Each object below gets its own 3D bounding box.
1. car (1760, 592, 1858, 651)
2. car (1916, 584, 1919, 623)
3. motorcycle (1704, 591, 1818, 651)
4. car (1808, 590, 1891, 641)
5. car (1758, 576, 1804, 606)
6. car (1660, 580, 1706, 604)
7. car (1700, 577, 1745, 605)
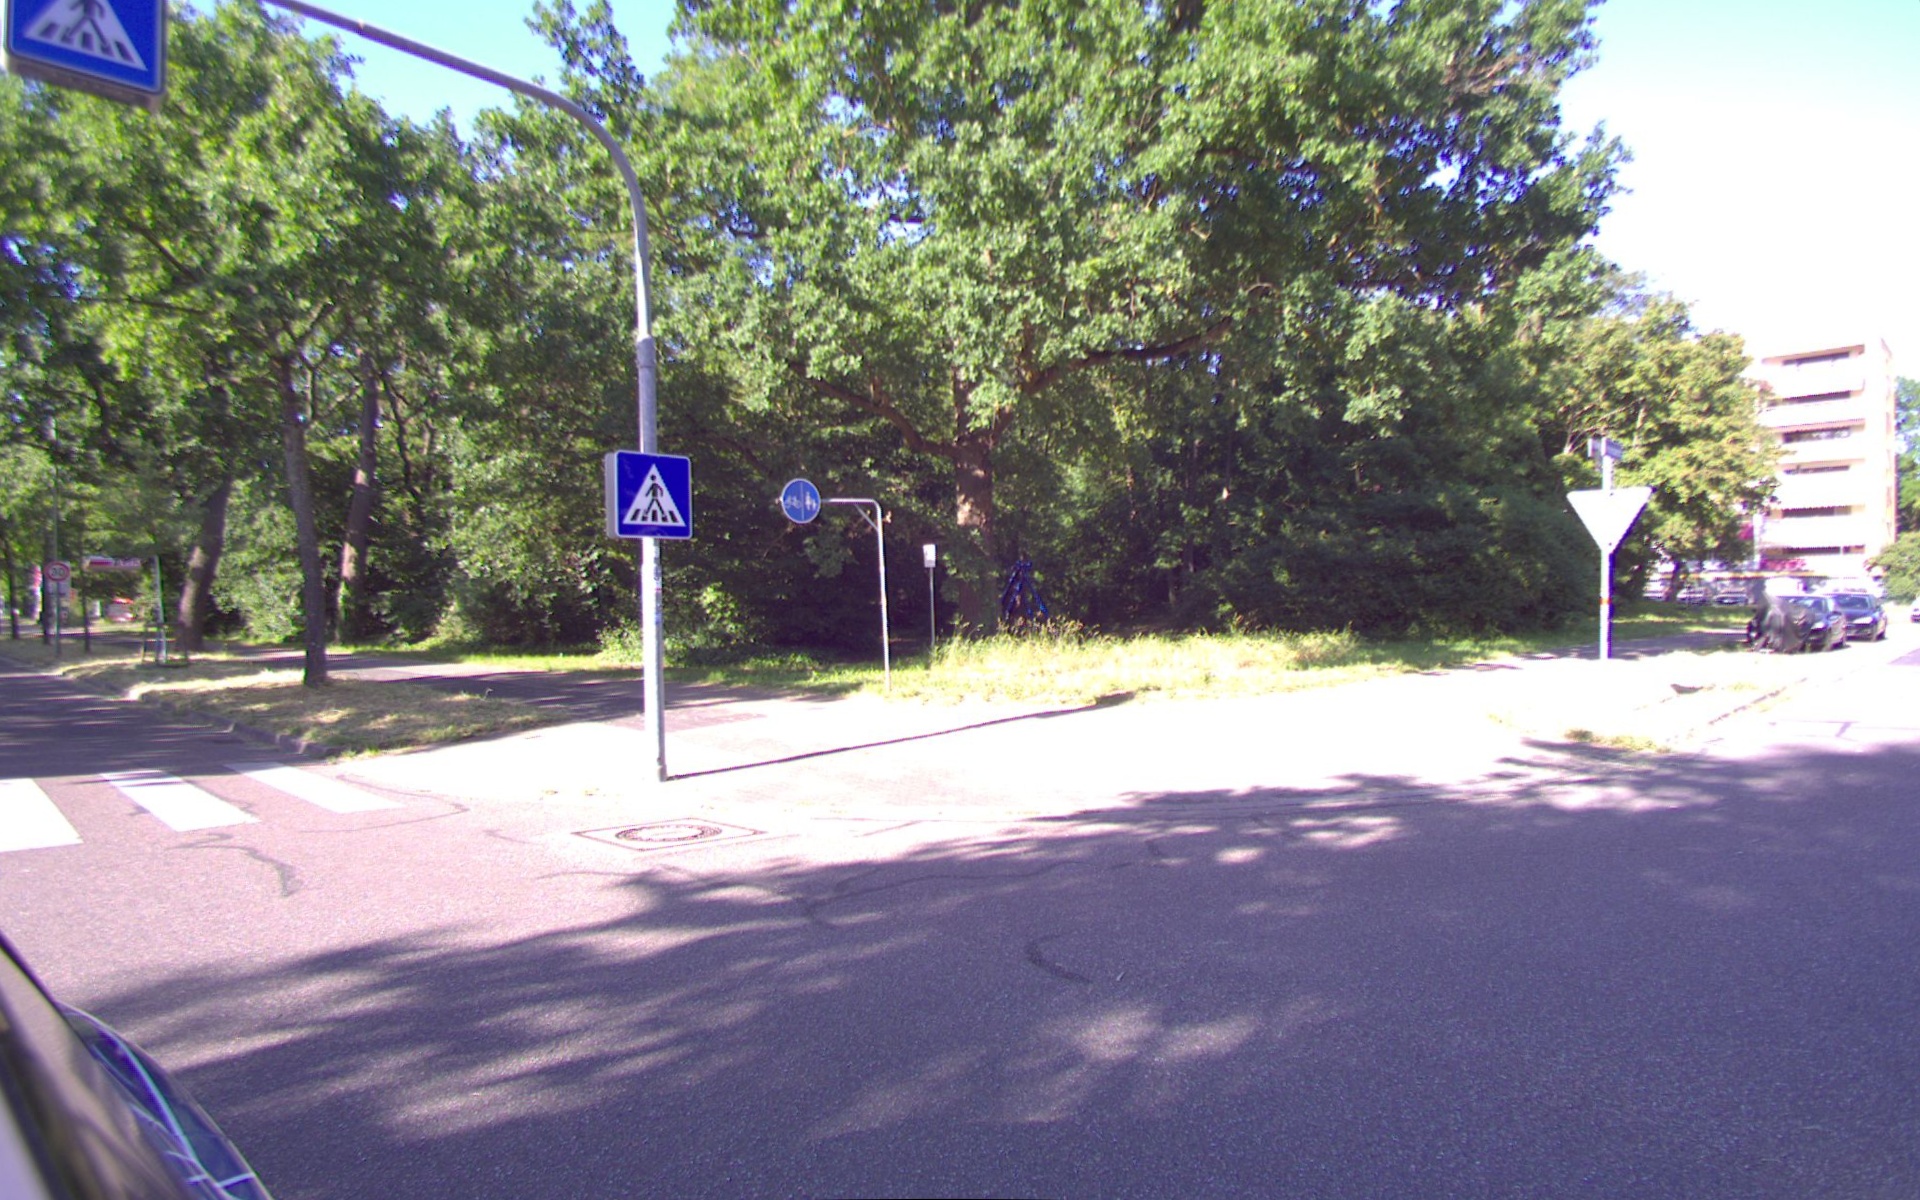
[{"bbox_3d":[22.153,0.518,26.365,3.535,1.402,1.561,-1,0,-44],"label":"car"},{"bbox_3d":[41.472,0.113,42.559,3.779,1.569,1.647,-1,0,-44],"label":"car"},{"bbox_3d":[18.692,0.486,23.672,1.944,1.354,0.672,-1,0,16],"label":"motorcycle"},{"bbox_3d":[26.707,0.443,30.356,3.535,1.402,1.561,-1,0,-44],"label":"car"},{"bbox_3d":[51.682,-0.574,63.699,3.779,1.757,1.764,-1,0,-44],"label":"car"},{"bbox_3d":[48.136,-0.517,67.394,3.779,1.538,1.802,-1,0,-44],"label":"car"},{"bbox_3d":[49.888,-0.595,66.163,3.779,1.757,1.764,-1,0,-44],"label":"car"}]
